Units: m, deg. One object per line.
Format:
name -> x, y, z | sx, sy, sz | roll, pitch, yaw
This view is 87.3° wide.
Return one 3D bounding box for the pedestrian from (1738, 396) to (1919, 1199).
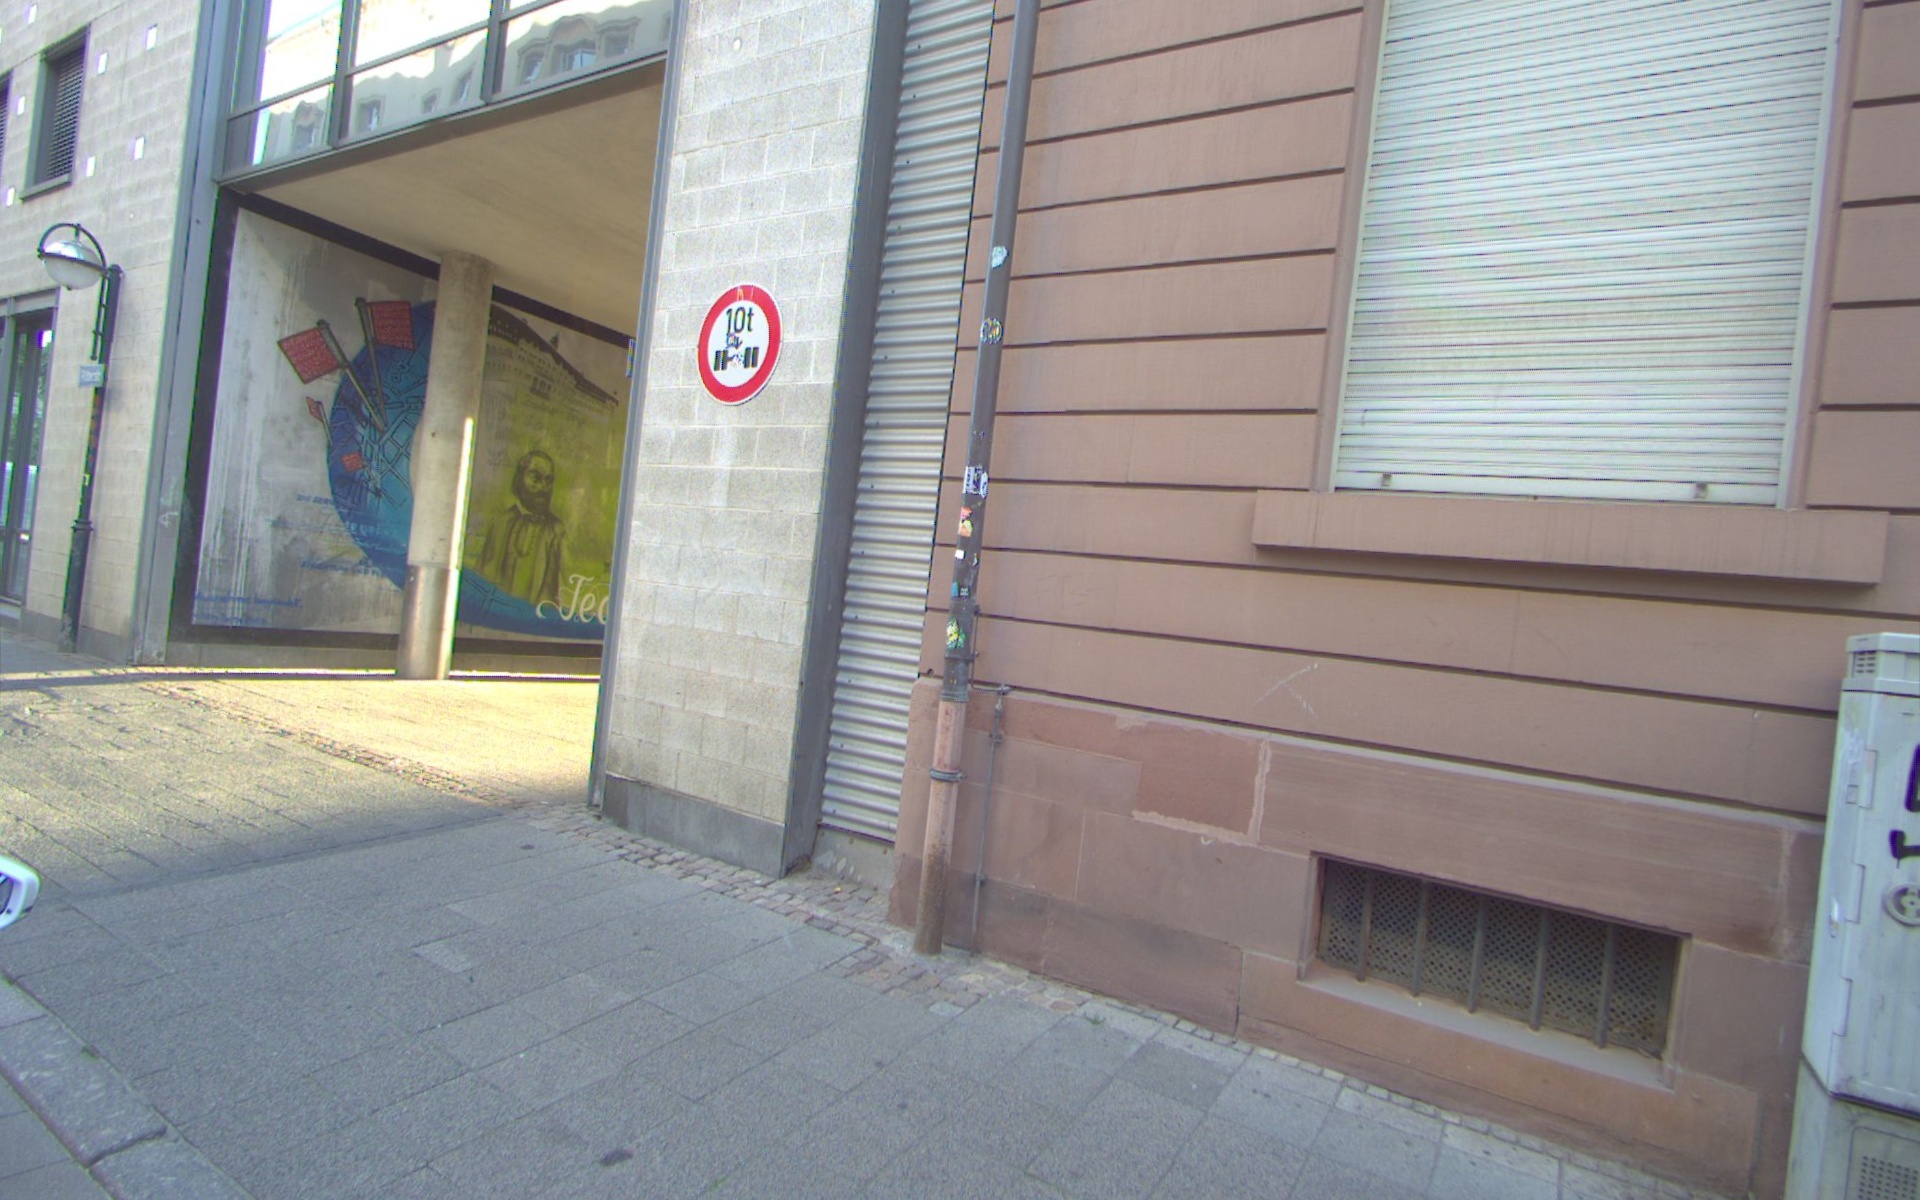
pedestrian -> 1.659, 0.706, 1.330 | 0.883, 1.829, 0.843 | 7, 5, 37
